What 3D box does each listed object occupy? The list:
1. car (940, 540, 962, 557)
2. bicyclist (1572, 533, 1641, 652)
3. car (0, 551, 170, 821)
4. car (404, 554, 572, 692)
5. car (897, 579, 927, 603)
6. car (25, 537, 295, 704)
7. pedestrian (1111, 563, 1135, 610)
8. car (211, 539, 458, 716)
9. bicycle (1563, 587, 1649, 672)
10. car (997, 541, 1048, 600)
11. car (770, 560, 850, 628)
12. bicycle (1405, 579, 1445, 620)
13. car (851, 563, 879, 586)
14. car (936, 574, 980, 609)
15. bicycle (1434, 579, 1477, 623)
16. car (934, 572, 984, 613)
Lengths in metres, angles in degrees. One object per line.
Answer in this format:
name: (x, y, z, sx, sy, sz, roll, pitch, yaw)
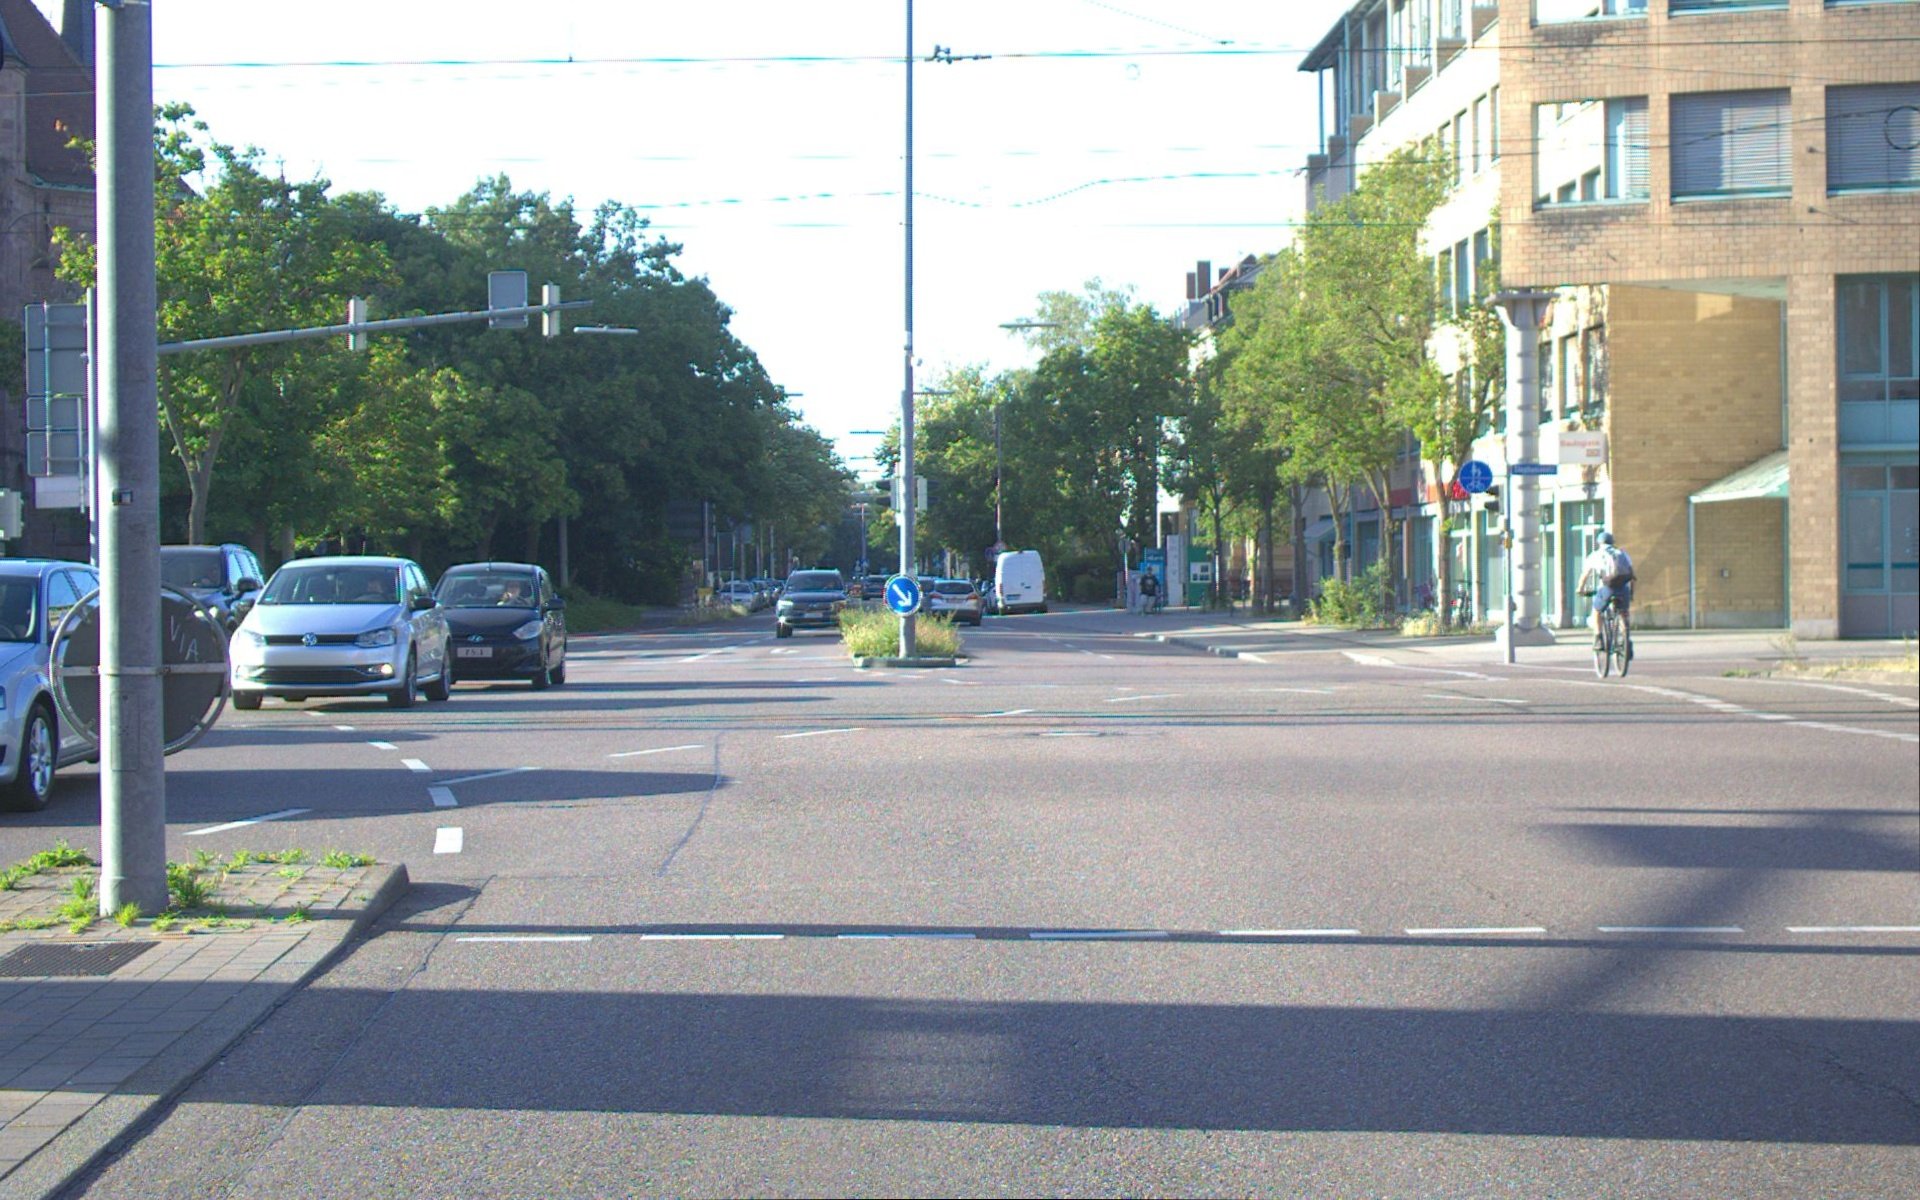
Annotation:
car: (-0.702, -3.800, 255.152, 1.594, 1.263, 3.266, 0, 1, 0)
bicyclist: (7.544, -0.098, 40.135, 0.592, 1.364, 0.930, 1, 1, 0)
car: (-6.027, 0.460, 20.482, 1.708, 1.420, 4.103, -2, 1, -1)
car: (-5.746, 0.252, 42.153, 1.578, 1.539, 3.477, -2, 1, -1)
car: (-2.629, -0.509, 189.002, 1.594, 1.263, 3.266, 0, 1, 0)
car: (-8.981, 0.176, 38.990, 1.816, 1.705, 4.786, -2, 1, 1)
pedestrian: (6.208, -0.511, 130.791, 0.847, 1.797, 0.776, 0, 1, -1)
car: (-5.938, 0.215, 33.000, 1.675, 1.539, 3.806, -2, 1, -1)
bicycle: (7.550, 0.332, 40.234, 0.592, 0.940, 1.978, 1, 1, -1)
car: (2.611, -1.240, 144.568, 1.993, 2.432, 4.000, 1, 0, 0)
car: (-3.924, -0.186, 90.803, 1.993, 1.718, 5.032, -1, 1, -1)
bicycle: (11.463, -0.026, 84.731, 0.646, 0.991, 2.081, 0, 0, -1)
car: (-6.935, -1.875, 251.401, 1.886, 1.665, 4.000, 1, 0, 0)
car: (-0.096, -0.313, 128.347, 1.594, 1.263, 3.266, 0, 1, 0)
bicycle: (11.557, 0.017, 80.176, 0.646, 0.991, 2.081, 0, 0, -1)
car: (-0.041, -0.250, 110.571, 1.594, 1.263, 3.266, 0, 1, 0)
